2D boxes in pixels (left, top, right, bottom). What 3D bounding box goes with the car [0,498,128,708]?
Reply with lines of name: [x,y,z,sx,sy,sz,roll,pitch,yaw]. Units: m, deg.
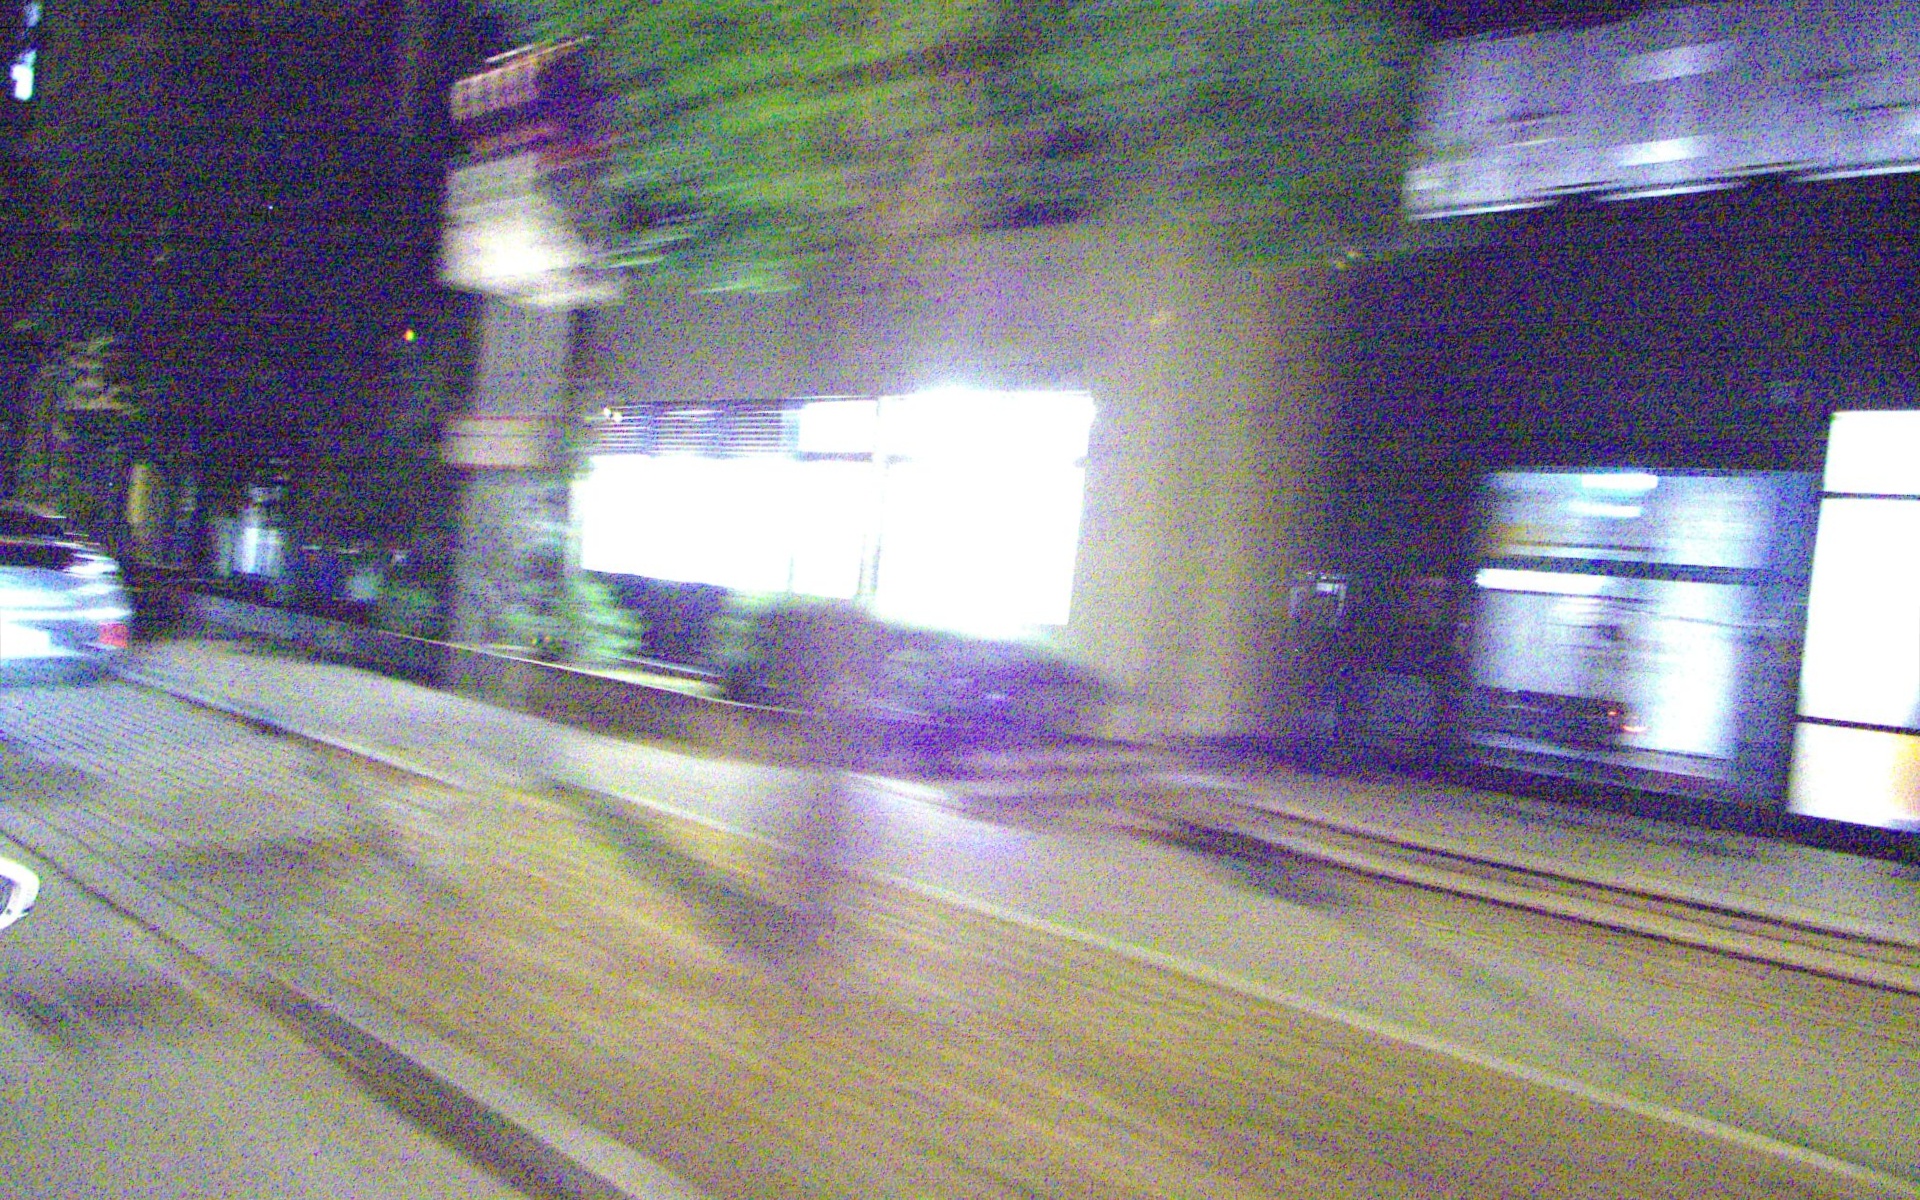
car: [-8.530,-0.149,8.134,4.081,1.448,1.668,7,2,34]
